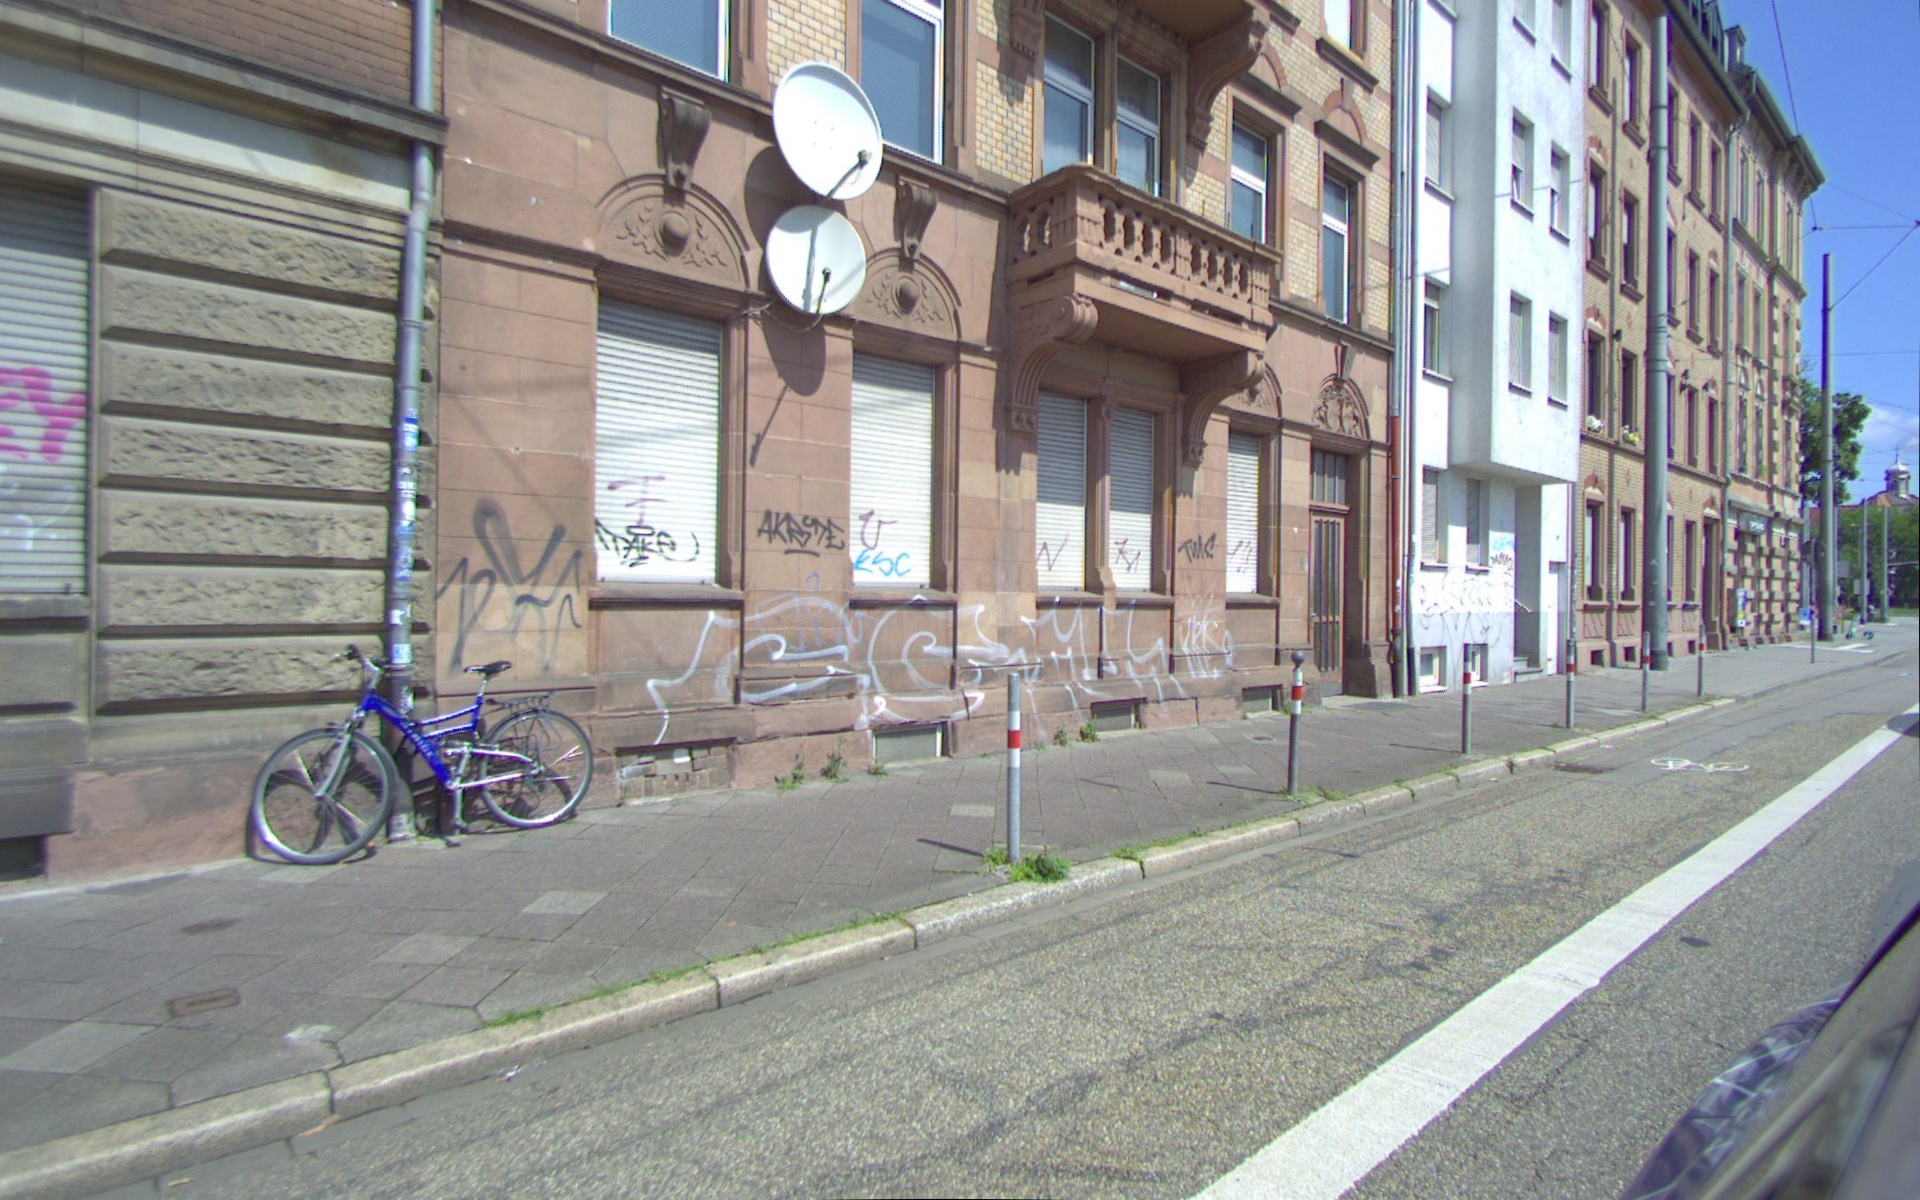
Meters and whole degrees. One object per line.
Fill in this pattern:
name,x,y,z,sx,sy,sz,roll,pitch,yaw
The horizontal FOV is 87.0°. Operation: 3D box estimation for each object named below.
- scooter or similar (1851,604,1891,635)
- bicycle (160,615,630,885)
scooter or similar,36.763,0.773,40.834,1.065,1.194,0.951,0,1,-35
bicycle,-2.976,0.696,5.530,2.166,1.193,0.587,0,1,-41
